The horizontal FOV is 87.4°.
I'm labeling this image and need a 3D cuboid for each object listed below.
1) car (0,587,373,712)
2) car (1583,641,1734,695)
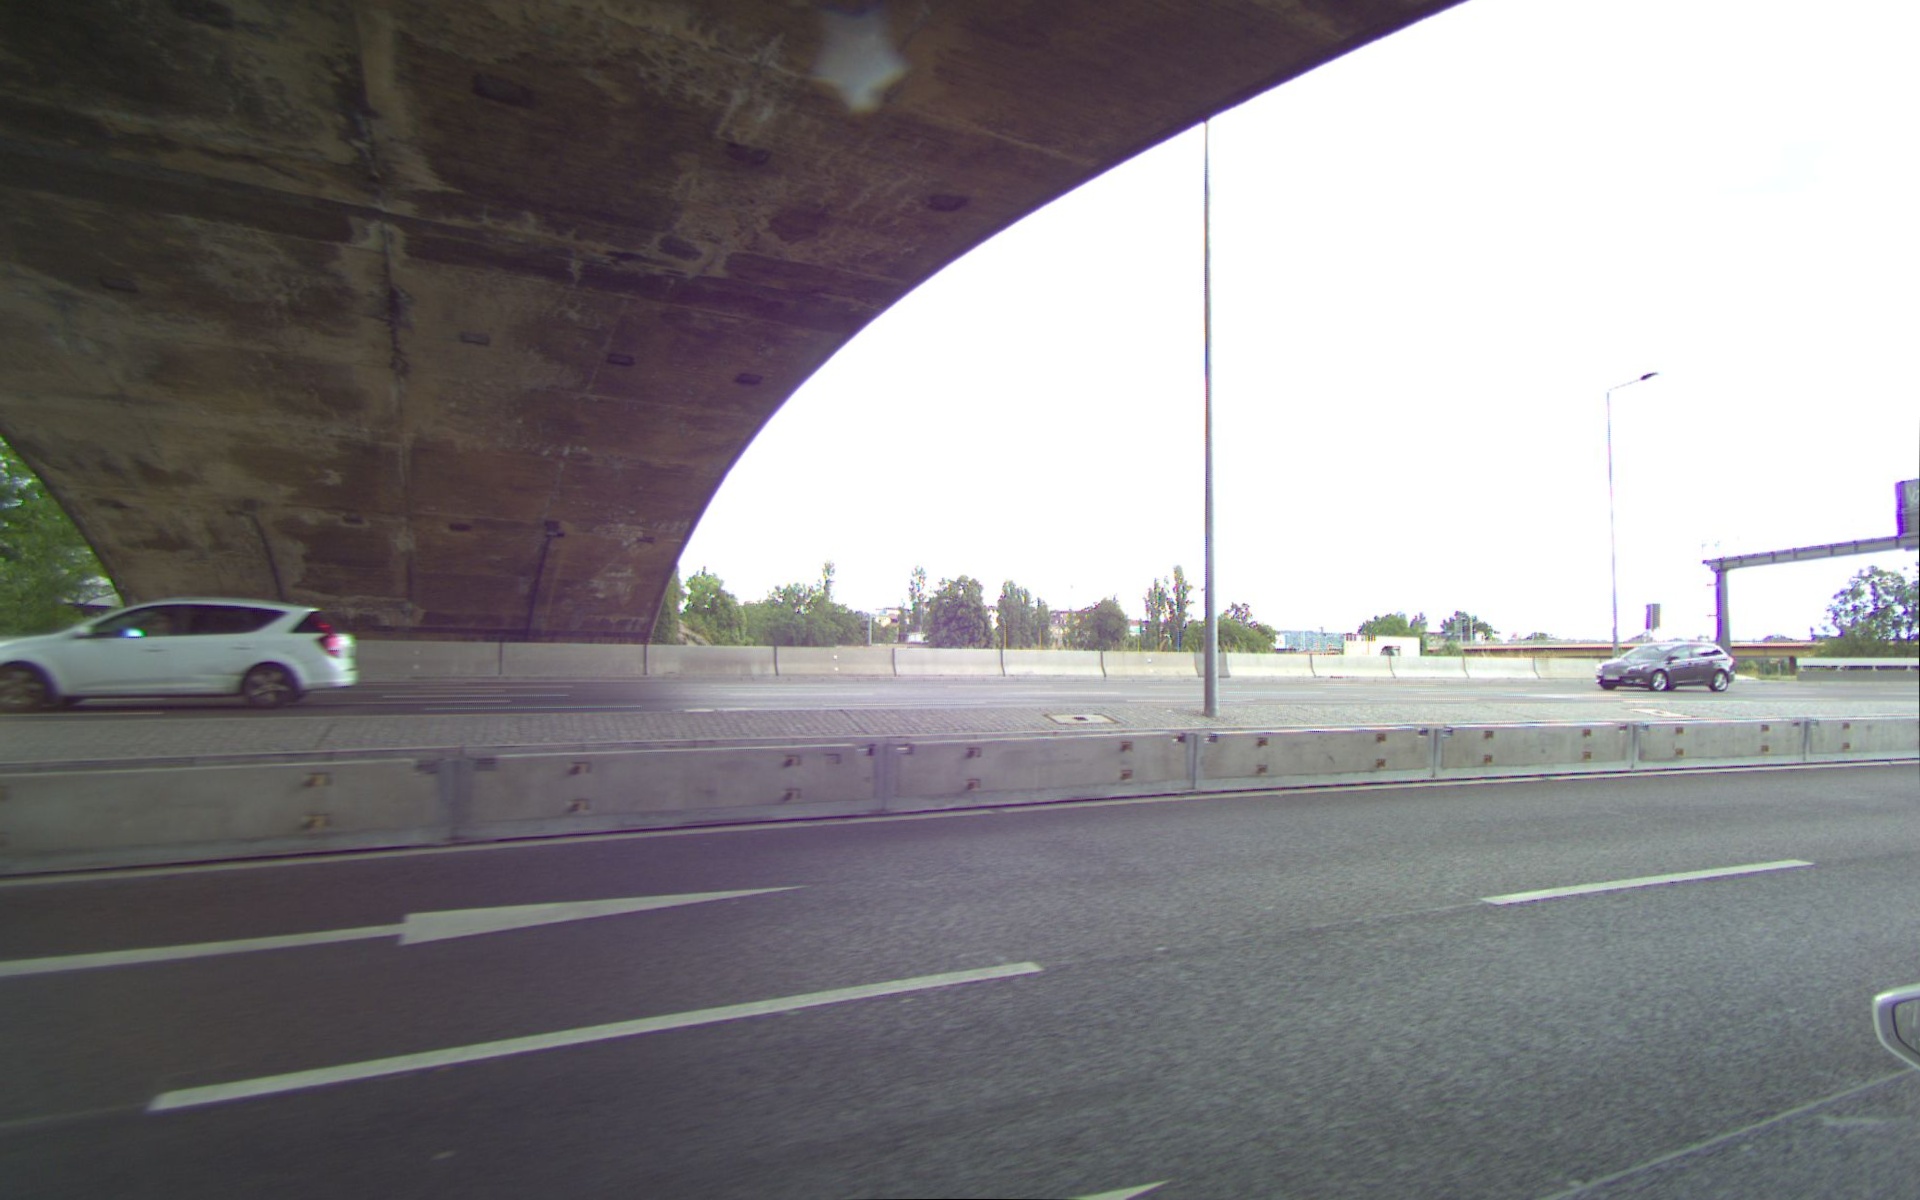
[{"bbox_3d":[-10.881,0.704,14.121,4.343,1.556,1.831,2,-2,-26],"label":"car"},{"bbox_3d":[21.610,2.101,31.086,4.337,1.557,1.814,2,-2,-22],"label":"car"}]
